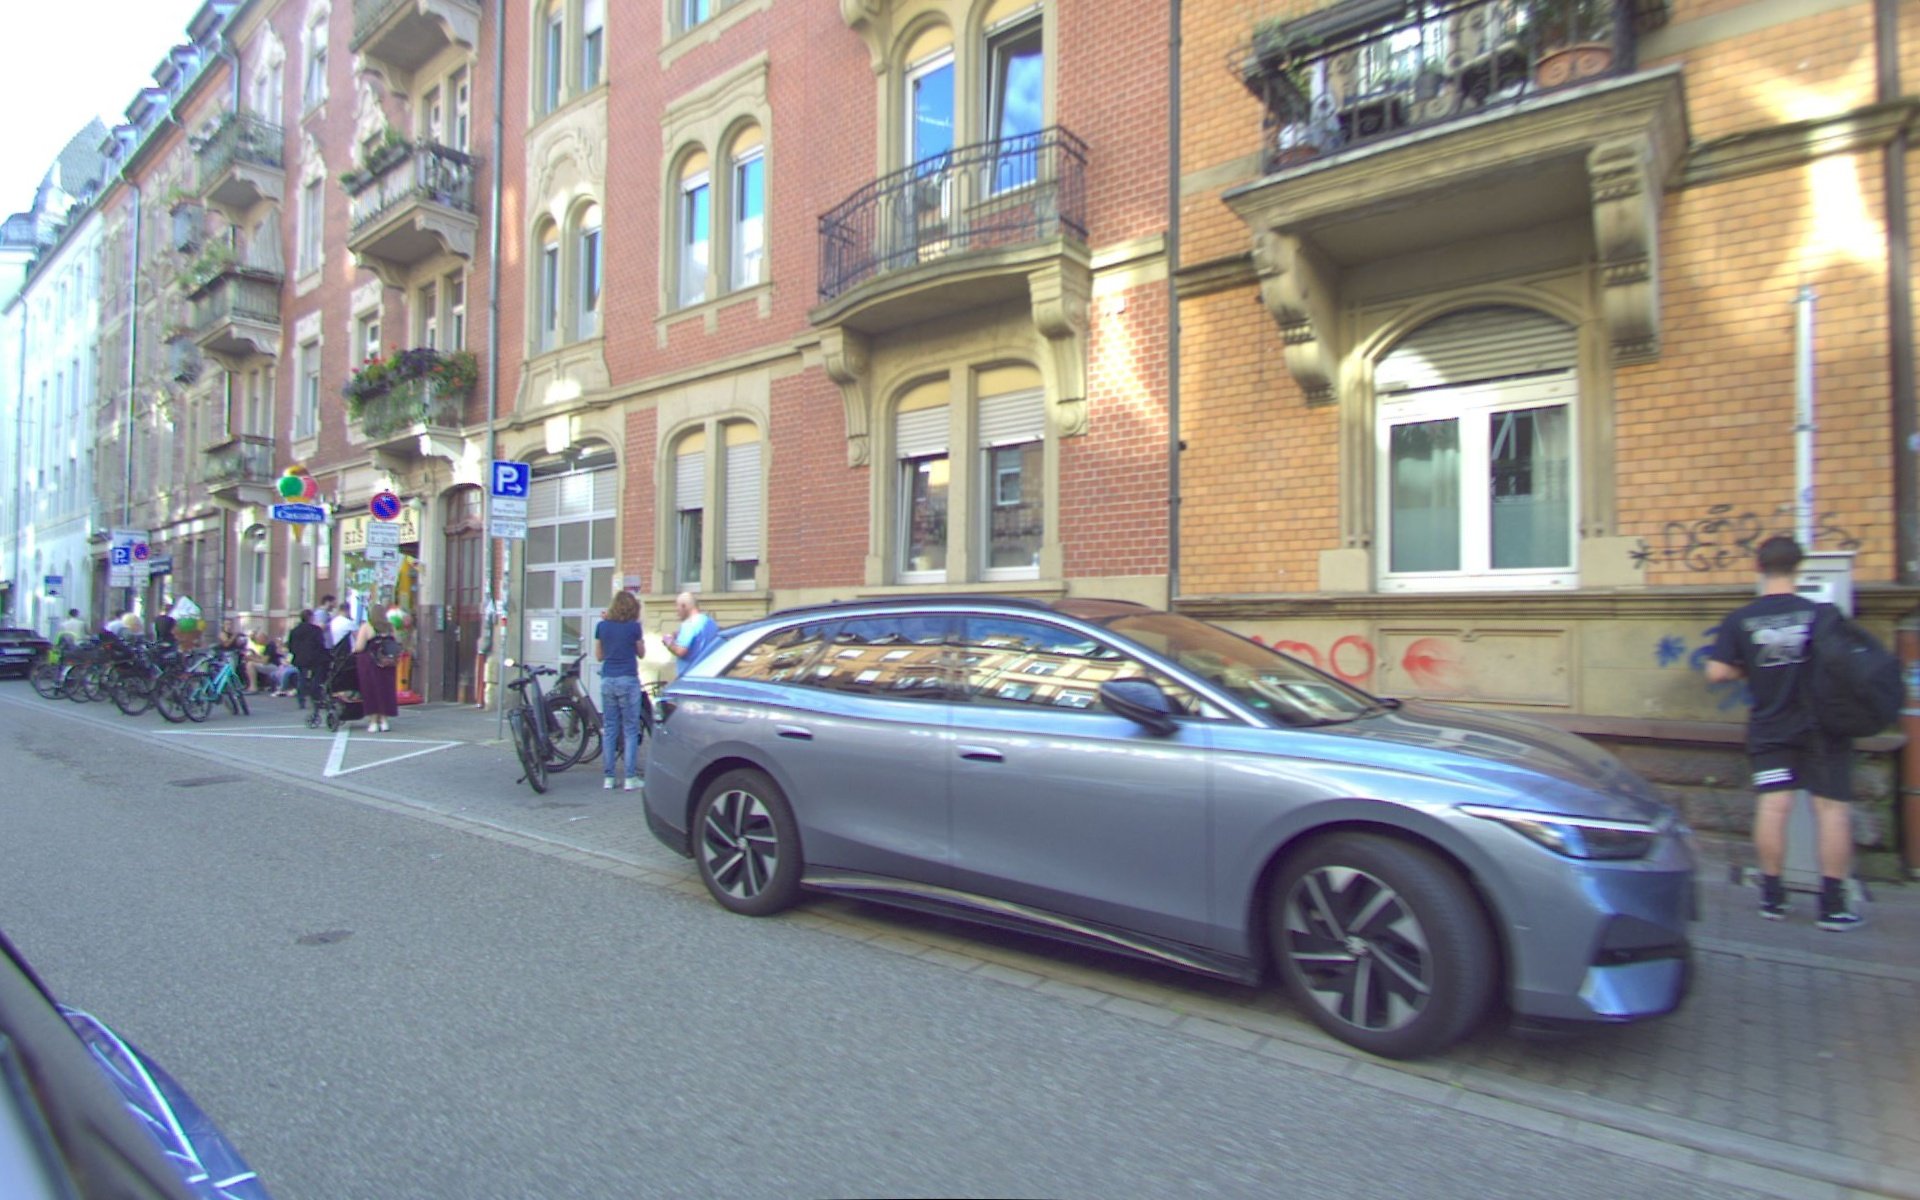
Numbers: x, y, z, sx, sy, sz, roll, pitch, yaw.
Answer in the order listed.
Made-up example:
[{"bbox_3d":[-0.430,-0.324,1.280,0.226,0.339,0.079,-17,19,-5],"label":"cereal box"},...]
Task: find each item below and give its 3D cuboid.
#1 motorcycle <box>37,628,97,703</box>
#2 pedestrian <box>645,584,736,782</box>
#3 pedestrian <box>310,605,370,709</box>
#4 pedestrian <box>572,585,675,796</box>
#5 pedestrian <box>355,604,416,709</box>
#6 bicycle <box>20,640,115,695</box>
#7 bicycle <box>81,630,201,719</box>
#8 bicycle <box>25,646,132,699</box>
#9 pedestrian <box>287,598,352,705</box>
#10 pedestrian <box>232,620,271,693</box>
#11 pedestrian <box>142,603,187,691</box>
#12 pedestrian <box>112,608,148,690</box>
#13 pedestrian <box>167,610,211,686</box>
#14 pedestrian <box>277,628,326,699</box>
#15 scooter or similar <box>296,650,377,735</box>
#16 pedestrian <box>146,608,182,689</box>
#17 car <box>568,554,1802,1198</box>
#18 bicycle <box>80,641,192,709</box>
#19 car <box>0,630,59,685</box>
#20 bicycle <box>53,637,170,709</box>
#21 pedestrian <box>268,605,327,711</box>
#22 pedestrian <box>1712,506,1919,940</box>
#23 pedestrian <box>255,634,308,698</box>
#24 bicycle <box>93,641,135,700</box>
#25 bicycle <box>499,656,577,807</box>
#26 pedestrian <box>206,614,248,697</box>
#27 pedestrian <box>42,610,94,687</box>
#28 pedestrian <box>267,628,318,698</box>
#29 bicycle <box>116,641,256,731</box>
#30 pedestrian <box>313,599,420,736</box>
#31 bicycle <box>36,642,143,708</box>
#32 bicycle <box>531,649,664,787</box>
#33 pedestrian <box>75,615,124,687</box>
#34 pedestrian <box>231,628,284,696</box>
[{"bbox_3d":[-17.570,1.249,19.947,0.698,1.395,2.028,0,-1,-36],"label":"motorcycle"},{"bbox_3d":[-2.371,0.712,8.944,0.545,1.674,0.680,-1,-1,9],"label":"pedestrian"},{"bbox_3d":[-10.489,0.950,17.129,0.579,1.709,0.664,-1,-1,9],"label":"pedestrian"},{"bbox_3d":[-2.839,0.746,8.571,0.659,1.722,0.565,-1,-1,4],"label":"pedestrian"},{"bbox_3d":[-9.648,0.929,16.995,0.762,1.709,0.657,-2,-1,39],"label":"pedestrian"},{"bbox_3d":[-19.322,1.453,21.931,1.555,1.125,0.375,0,-1,-12],"label":"bicycle"},{"bbox_3d":[-13.164,1.171,16.326,0.521,1.332,1.675,-1,-1,3],"label":"bicycle"},{"bbox_3d":[-18.669,1.517,21.466,1.658,1.038,0.410,0,-1,-31],"label":"bicycle"},{"bbox_3d":[-11.427,0.902,18.067,0.658,1.868,0.761,-1,-1,8],"label":"pedestrian"},{"bbox_3d":[-14.742,1.157,21.044,0.597,1.481,0.726,1,-2,-40],"label":"pedestrian"},{"bbox_3d":[-17.752,1.036,22.605,0.637,1.906,0.603,0,-1,-21],"label":"pedestrian"},{"bbox_3d":[-18.418,1.076,22.474,0.597,1.765,0.947,1,-2,-38],"label":"pedestrian"},{"bbox_3d":[-18.407,1.138,24.180,0.678,1.773,0.668,0,-1,-21],"label":"pedestrian"},{"bbox_3d":[-12.598,1.199,19.376,0.372,1.323,0.695,-1,-2,35],"label":"pedestrian"},{"bbox_3d":[-8.321,1.215,13.503,0.920,1.063,0.600,-1,-1,34],"label":"scooter or similar"},{"bbox_3d":[-17.715,1.065,22.520,0.597,1.765,0.726,1,-2,-40],"label":"pedestrian"},{"bbox_3d":[0.469,0.735,4.800,5.253,1.590,1.809,-1,-1,36],"label":"car"},{"bbox_3d":[-14.882,1.332,18.335,0.548,1.129,1.736,-1,-1,3],"label":"bicycle"},{"bbox_3d":[-25.767,1.495,26.965,5.109,1.361,1.794,-1,-2,39],"label":"car"},{"bbox_3d":[-15.480,1.305,18.530,0.583,1.209,1.789,-1,-1,3],"label":"bicycle"},{"bbox_3d":[-11.018,0.952,16.835,0.637,1.709,0.566,-1,-1,-6],"label":"pedestrian"},{"bbox_3d":[4.101,0.523,4.707,0.863,1.822,0.748,-2,-1,43],"label":"pedestrian"},{"bbox_3d":[-13.354,1.281,19.920,0.585,1.206,0.702,-1,-2,35],"label":"pedestrian"},{"bbox_3d":[-16.974,1.397,20.331,0.570,1.098,1.742,0,-1,-38],"label":"bicycle"},{"bbox_3d":[-3.674,1.060,8.736,0.475,1.067,1.910,-1,0,-27],"label":"bicycle"},{"bbox_3d":[-14.690,1.107,20.289,0.583,1.629,0.547,-2,-2,39],"label":"pedestrian"},{"bbox_3d":[-21.677,1.160,24.604,0.750,1.832,0.668,0,-1,-21],"label":"pedestrian"},{"bbox_3d":[-12.933,1.204,19.616,0.438,1.323,0.711,-1,-2,35],"label":"pedestrian"},{"bbox_3d":[-11.391,1.226,15.001,0.795,1.168,2.276,0,-1,-14],"label":"bicycle"},{"bbox_3d":[-7.604,0.834,12.984,0.825,1.674,0.904,-1,-1,31],"label":"pedestrian"},{"bbox_3d":[-16.089,1.367,18.754,0.583,1.129,1.569,-1,-1,3],"label":"bicycle"},{"bbox_3d":[-3.448,1.051,9.524,0.487,1.103,1.907,-1,0,-42],"label":"bicycle"},{"bbox_3d":[-21.566,1.271,25.364,0.750,1.773,0.668,0,-1,-21],"label":"pedestrian"},{"bbox_3d":[-14.008,1.223,20.187,0.605,1.323,0.716,-1,-2,36],"label":"pedestrian"}]
